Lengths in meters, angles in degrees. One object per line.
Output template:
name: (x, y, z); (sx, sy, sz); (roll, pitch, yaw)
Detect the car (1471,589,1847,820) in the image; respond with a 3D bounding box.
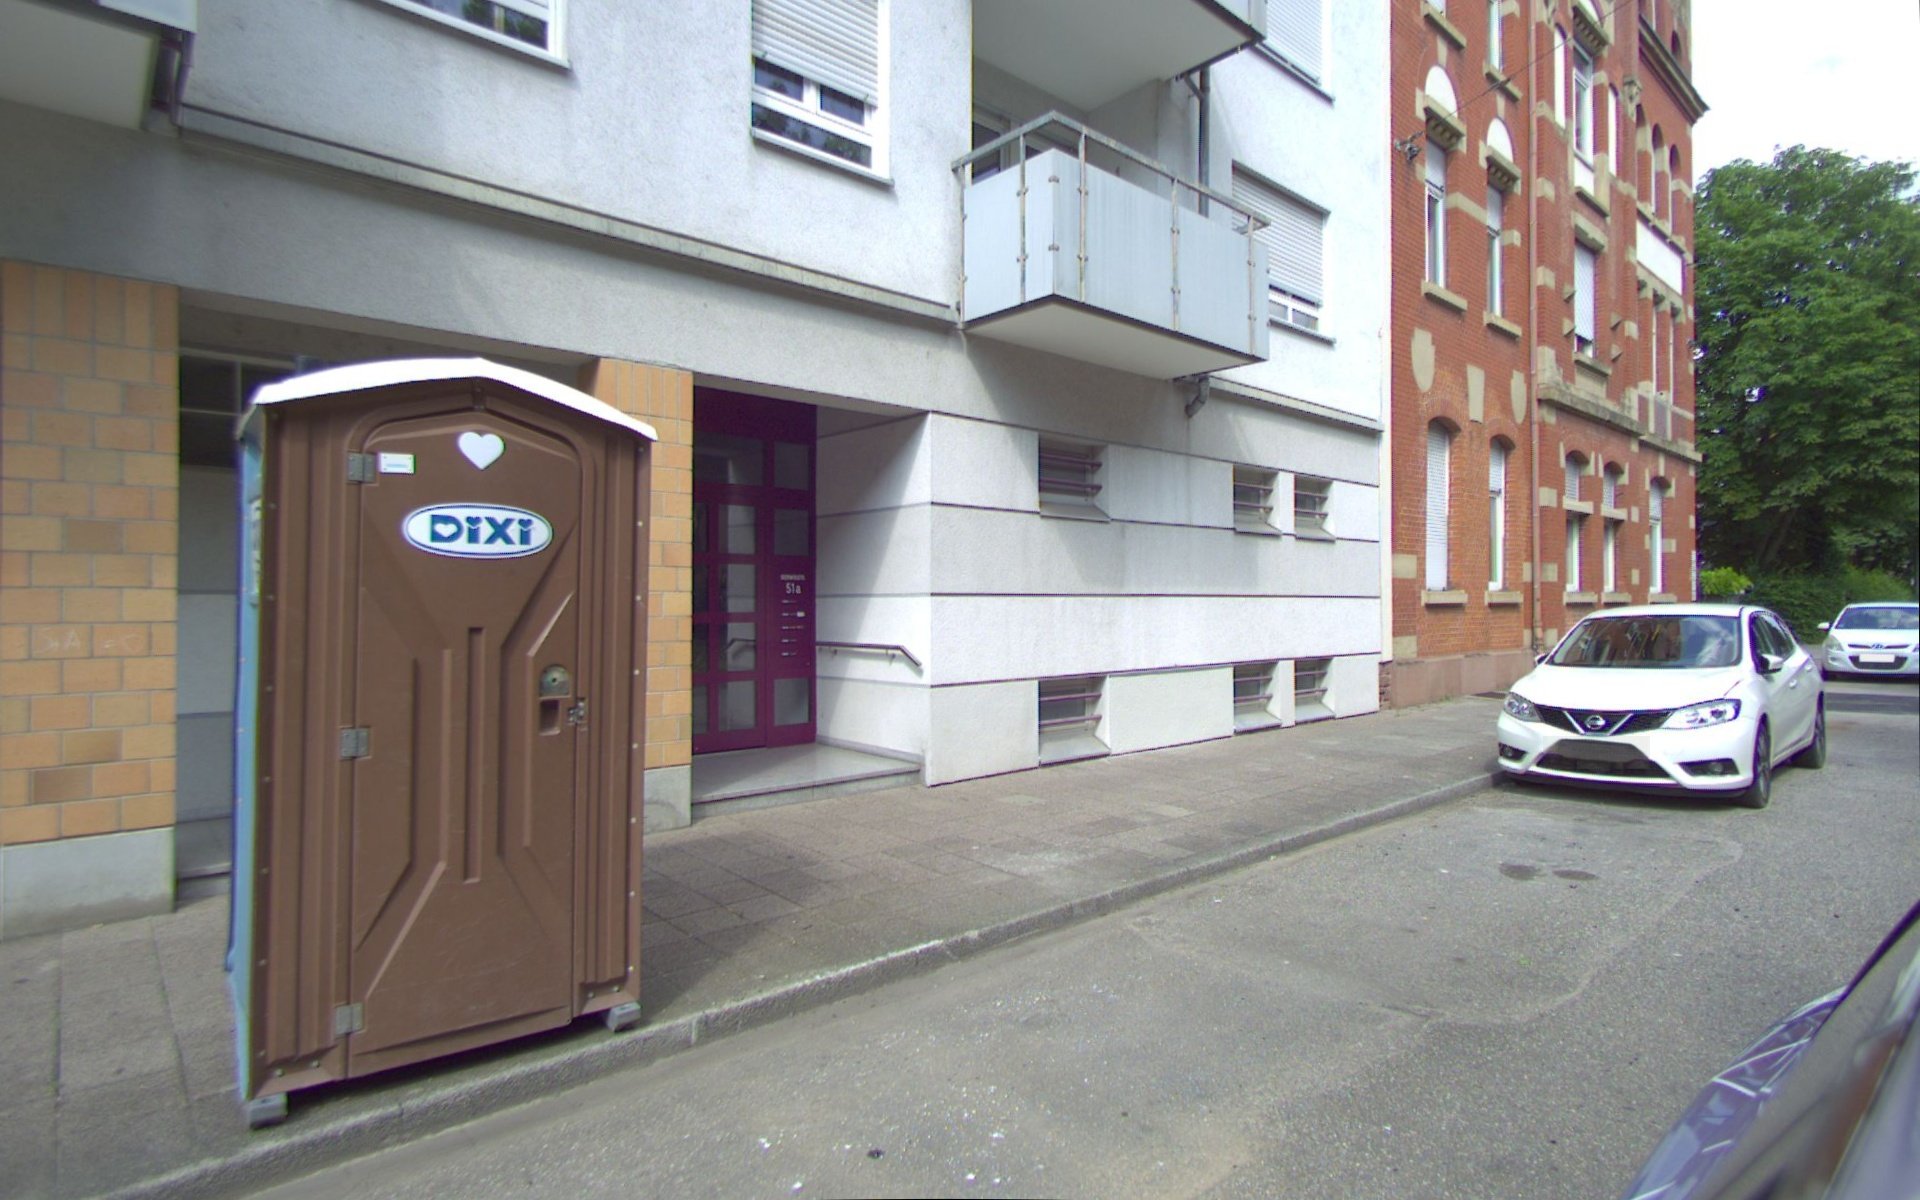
car: (6.191, 0.709, 8.794); (3.971, 1.549, 1.799); (0, -1, -42)

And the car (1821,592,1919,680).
car: (18.148, 0.637, 19.528); (3.971, 1.549, 1.799); (0, -1, -42)
